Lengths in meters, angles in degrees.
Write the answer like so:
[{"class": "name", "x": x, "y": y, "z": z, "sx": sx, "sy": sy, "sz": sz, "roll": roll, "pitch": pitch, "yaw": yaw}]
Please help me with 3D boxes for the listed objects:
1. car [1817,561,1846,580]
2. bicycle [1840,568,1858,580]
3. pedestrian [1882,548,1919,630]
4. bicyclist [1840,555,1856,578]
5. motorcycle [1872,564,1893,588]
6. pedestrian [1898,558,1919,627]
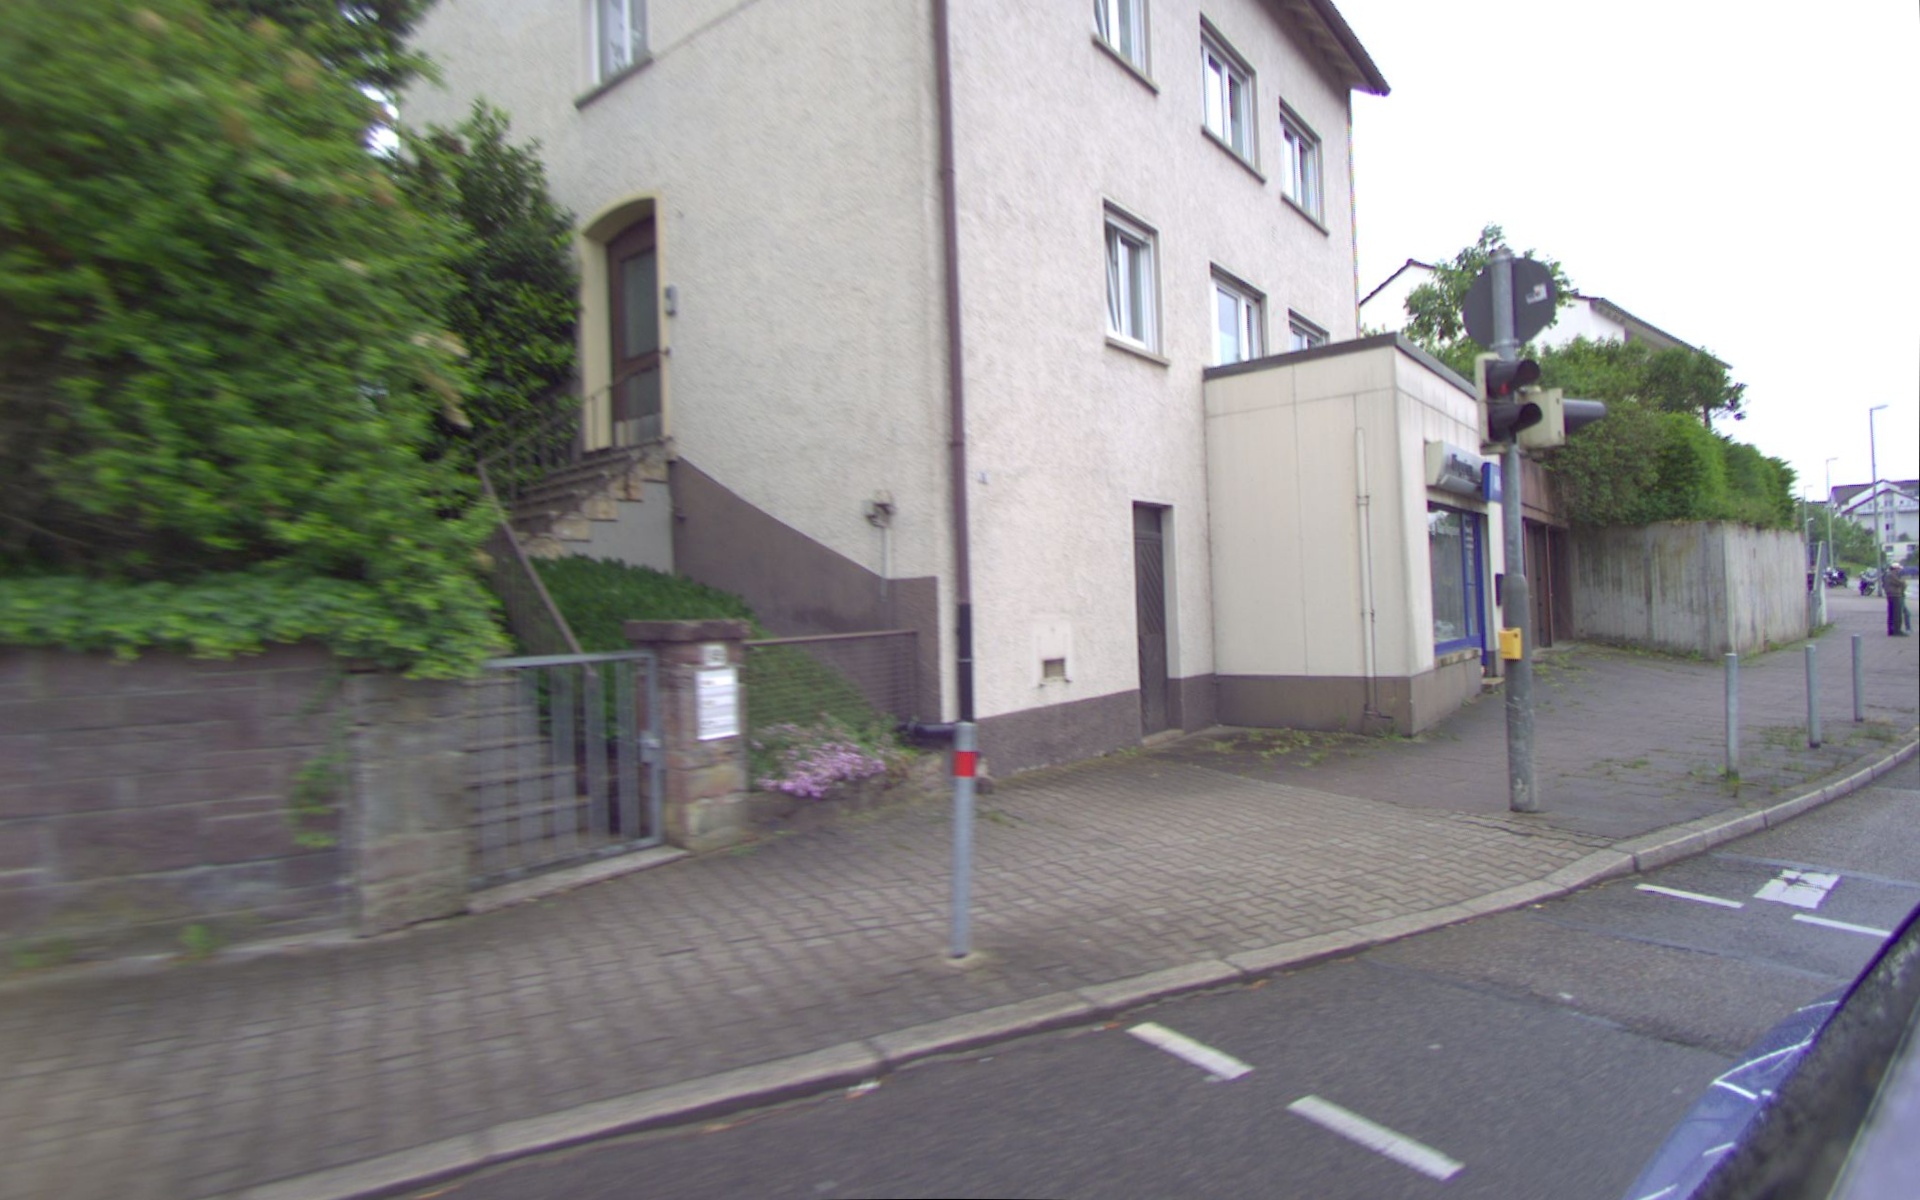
[{"class": "car", "x": 72.854, "y": -2.498, "z": 84.640, "sx": 1.730, "sy": 1.508, "sz": 3.944, "roll": 0, "pitch": 2, "yaw": 40}, {"class": "bicycle", "x": 66.233, "y": -1.921, "z": 75.378, "sx": 2.196, "sy": 0.836, "sz": 0.732, "roll": -2, "pitch": 2, "yaw": -41}, {"class": "pedestrian", "x": 24.012, "y": -0.277, "z": 25.695, "sx": 0.722, "sy": 2.039, "sz": 0.797, "roll": -2, "pitch": 1, "yaw": -44}, {"class": "bicyclist", "x": 66.149, "y": -2.482, "z": 75.387, "sx": 0.890, "sy": 1.663, "sz": 0.809, "roll": -2, "pitch": 1, "yaw": -41}, {"class": "motorcycle", "x": 52.403, "y": -1.372, "z": 57.498, "sx": 0.690, "sy": 1.341, "sz": 2.446, "roll": 0, "pitch": 2, "yaw": 38}, {"class": "pedestrian", "x": 25.493, "y": -0.209, "z": 26.873, "sx": 0.995, "sy": 1.802, "sz": 0.794, "roll": -2, "pitch": 2, "yaw": -44}]
